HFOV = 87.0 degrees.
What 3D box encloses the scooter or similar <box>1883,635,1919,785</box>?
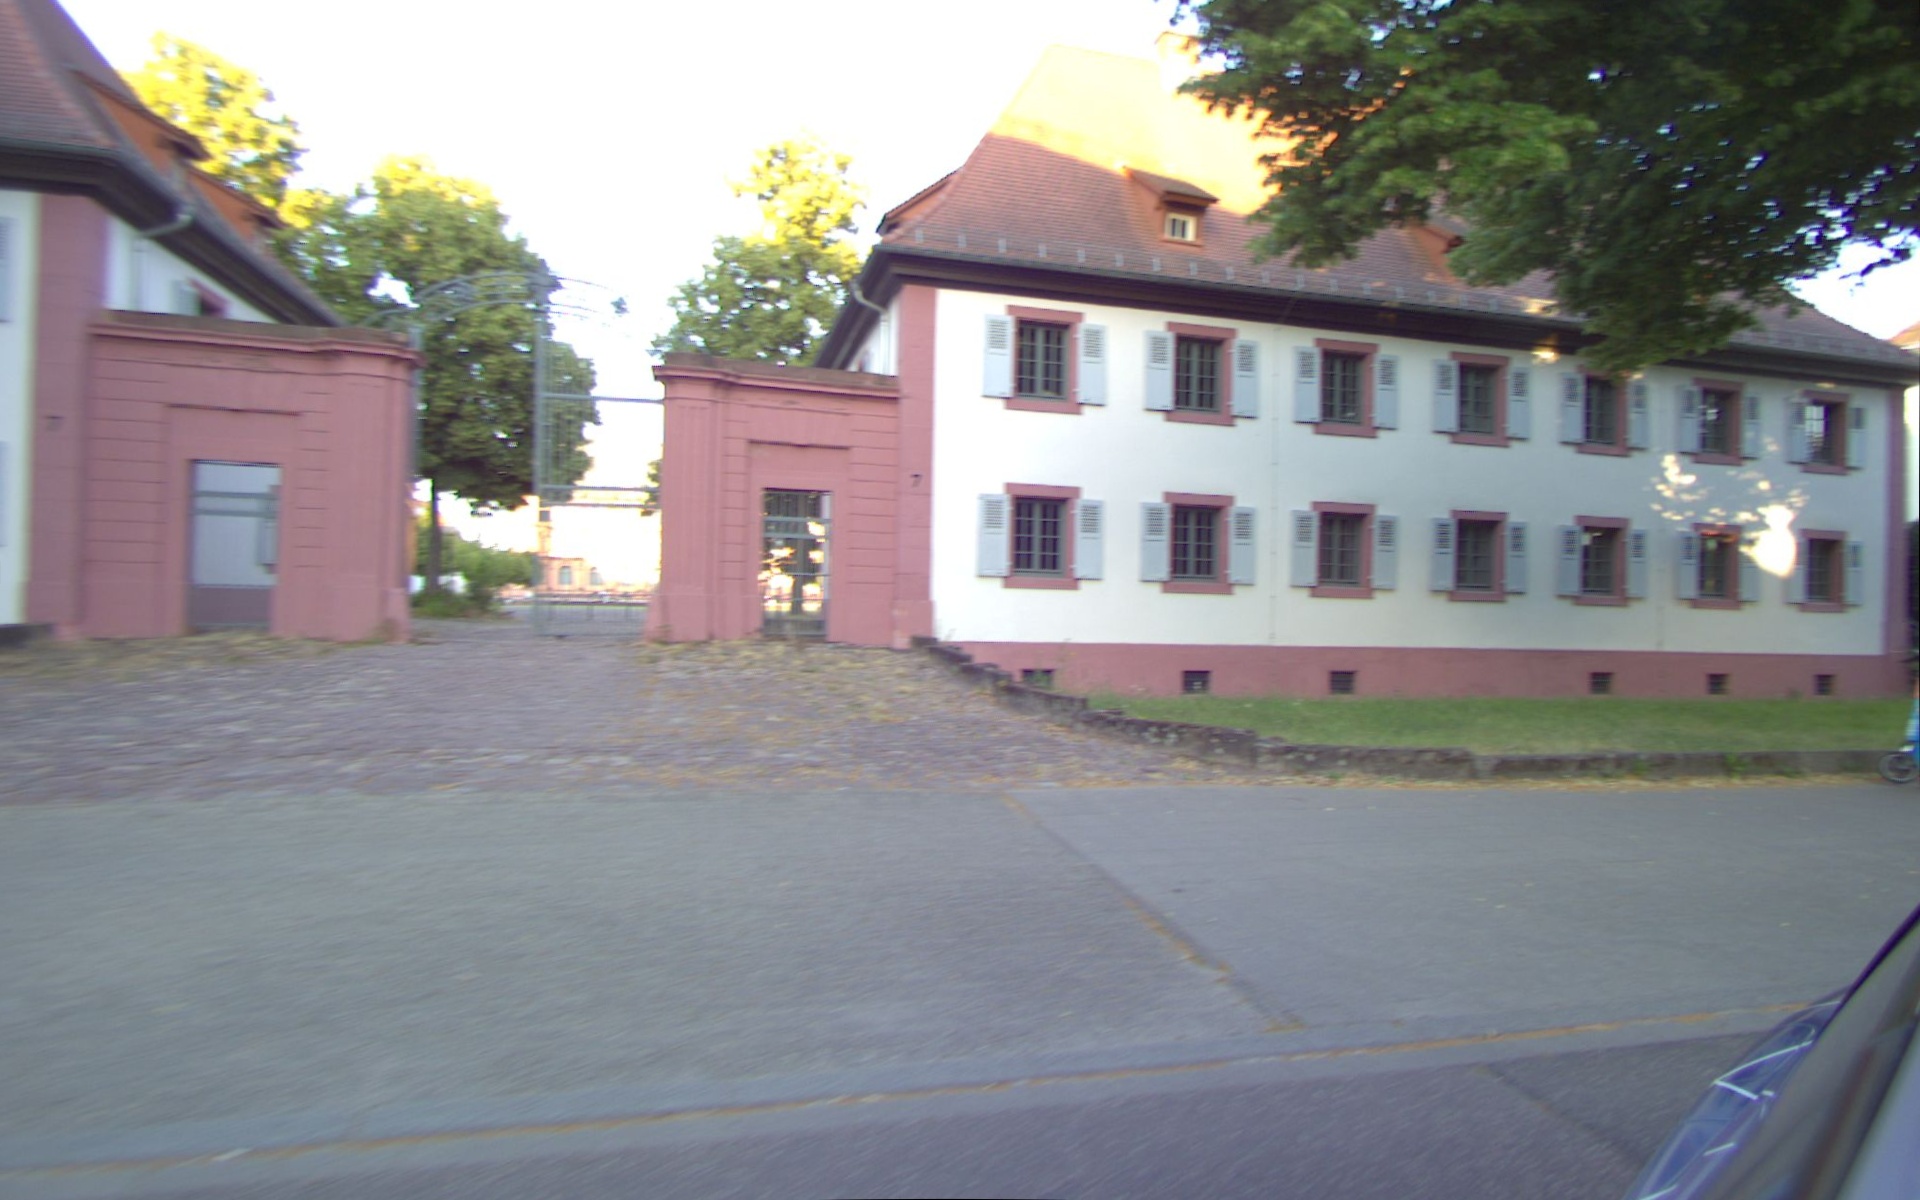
[{"bbox_3d":[8.875,0.972,9.143,1.240,1.292,0.240,1,0,-20],"label":"scooter or similar"}]
